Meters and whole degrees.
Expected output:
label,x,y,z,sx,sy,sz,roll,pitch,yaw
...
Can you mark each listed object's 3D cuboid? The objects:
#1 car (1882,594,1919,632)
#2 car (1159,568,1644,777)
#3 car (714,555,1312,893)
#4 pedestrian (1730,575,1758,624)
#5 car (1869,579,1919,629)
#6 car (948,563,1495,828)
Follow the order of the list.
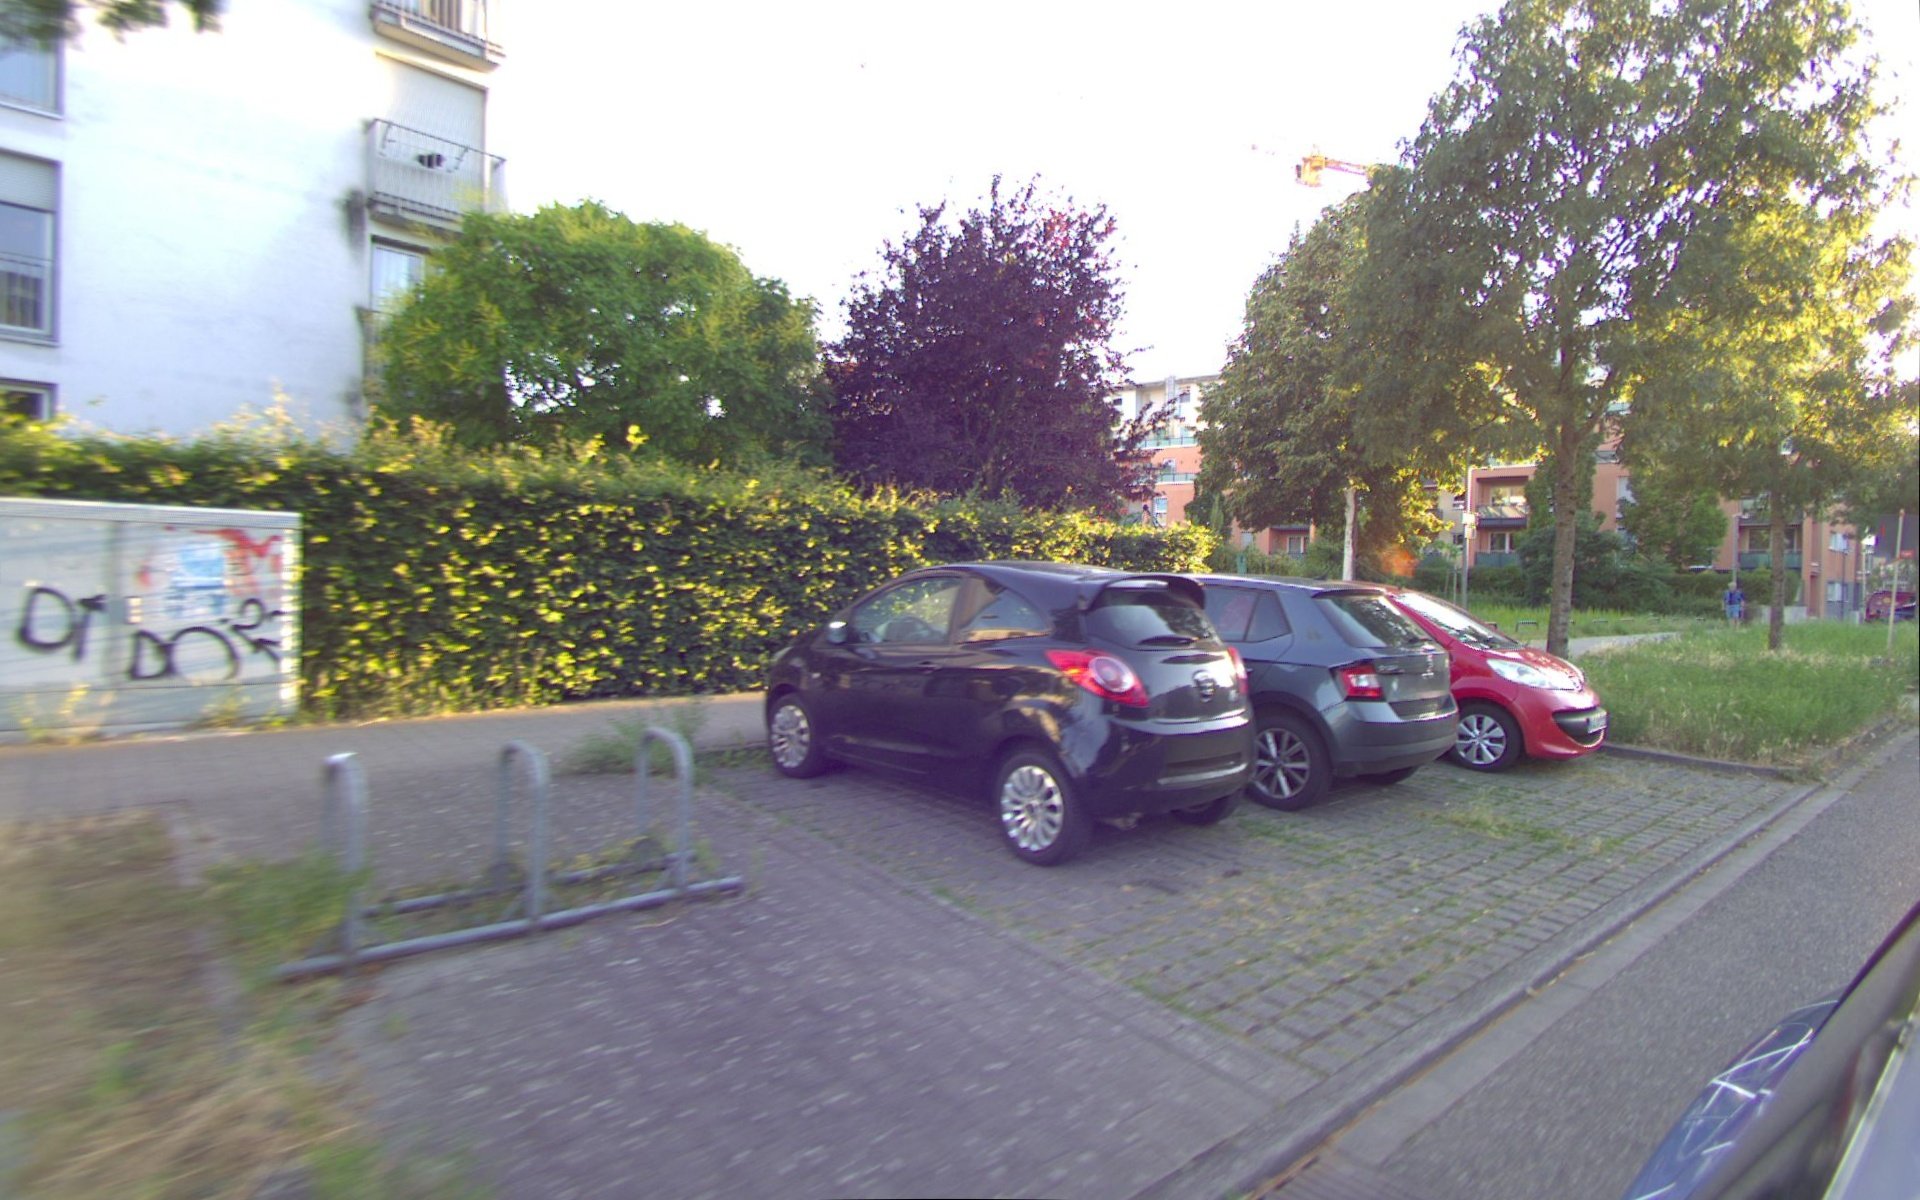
label,x,y,z,sx,sy,sz,roll,pitch,yaw
car,41.452,0.581,41.853,1.779,1.576,4.679,1,1,-39
car,3.924,0.493,9.463,1.650,1.527,3.808,0,1,-42
car,0.098,0.485,6.546,1.651,1.527,3.808,-3,3,-42
pedestrian,28.595,-0.034,36.894,0.687,1.765,0.670,1,0,-41
car,43.345,0.206,44.356,1.981,2.143,4.931,1,1,-39
car,1.789,0.500,7.814,1.650,1.527,3.808,0,1,-42
